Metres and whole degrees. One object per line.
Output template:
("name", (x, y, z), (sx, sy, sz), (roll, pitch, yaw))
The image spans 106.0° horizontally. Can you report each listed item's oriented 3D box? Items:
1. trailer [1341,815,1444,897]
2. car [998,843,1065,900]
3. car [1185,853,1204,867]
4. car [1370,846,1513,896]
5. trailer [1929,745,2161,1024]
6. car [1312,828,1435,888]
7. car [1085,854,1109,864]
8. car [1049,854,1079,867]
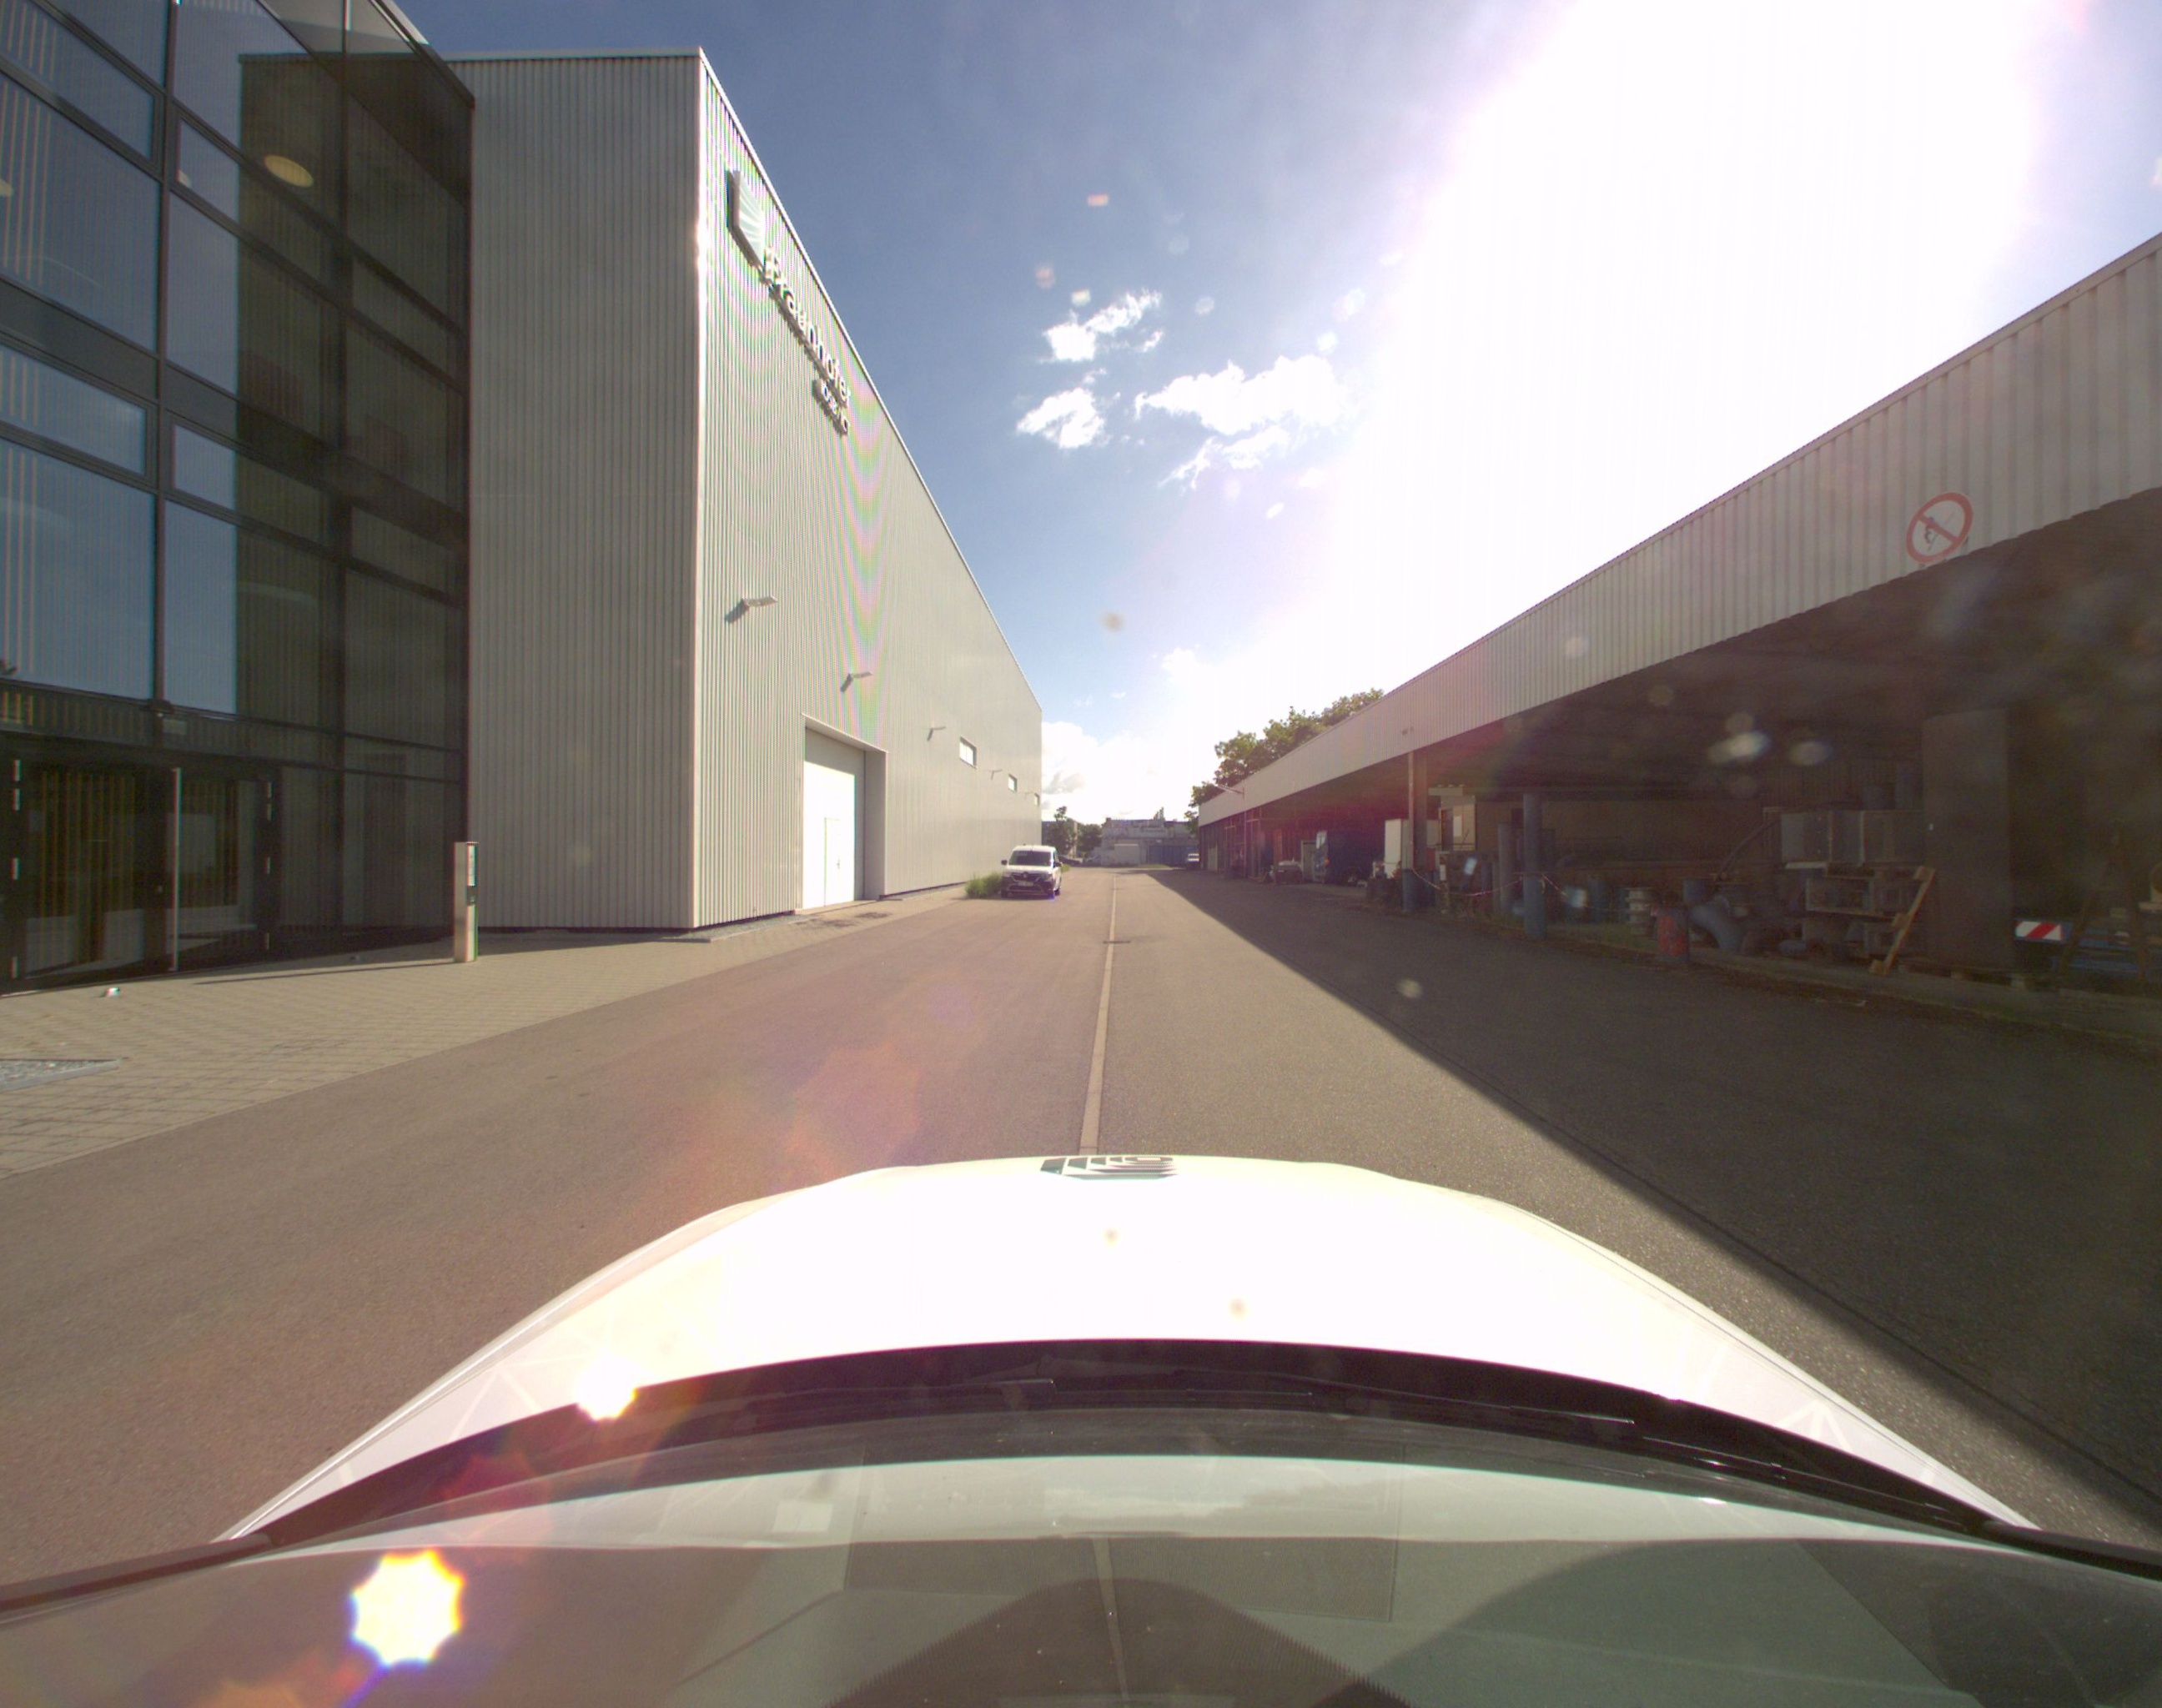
("trailer", (9.412, 0.079, 24.793), (2.513, 2.399, 1.728), (0, -1, 3))
("car", (-1.662, 0.552, 28.625), (1.811, 1.787, 4.408), (1, 0, 3))
("car", (13.604, 0.735, 97.993), (1.953, 1.564, 4.064), (1, 0, 4))
("car", (11.866, 0.563, 26.976), (4.021, 1.525, 1.685), (1, -2, 3))
("trailer", (10.782, 0.181, 6.467), (5.741, 2.032, 2.080), (-1, 0, 3))
("car", (11.973, 0.186, 33.502), (4.414, 2.310, 1.917), (1, -2, 3))
("car", (2.789, 0.822, 138.700), (3.973, 1.598, 1.848), (1, -2, 1))
("car", (-2.269, 0.871, 110.956), (3.973, 1.598, 1.742), (1, -2, 1))
